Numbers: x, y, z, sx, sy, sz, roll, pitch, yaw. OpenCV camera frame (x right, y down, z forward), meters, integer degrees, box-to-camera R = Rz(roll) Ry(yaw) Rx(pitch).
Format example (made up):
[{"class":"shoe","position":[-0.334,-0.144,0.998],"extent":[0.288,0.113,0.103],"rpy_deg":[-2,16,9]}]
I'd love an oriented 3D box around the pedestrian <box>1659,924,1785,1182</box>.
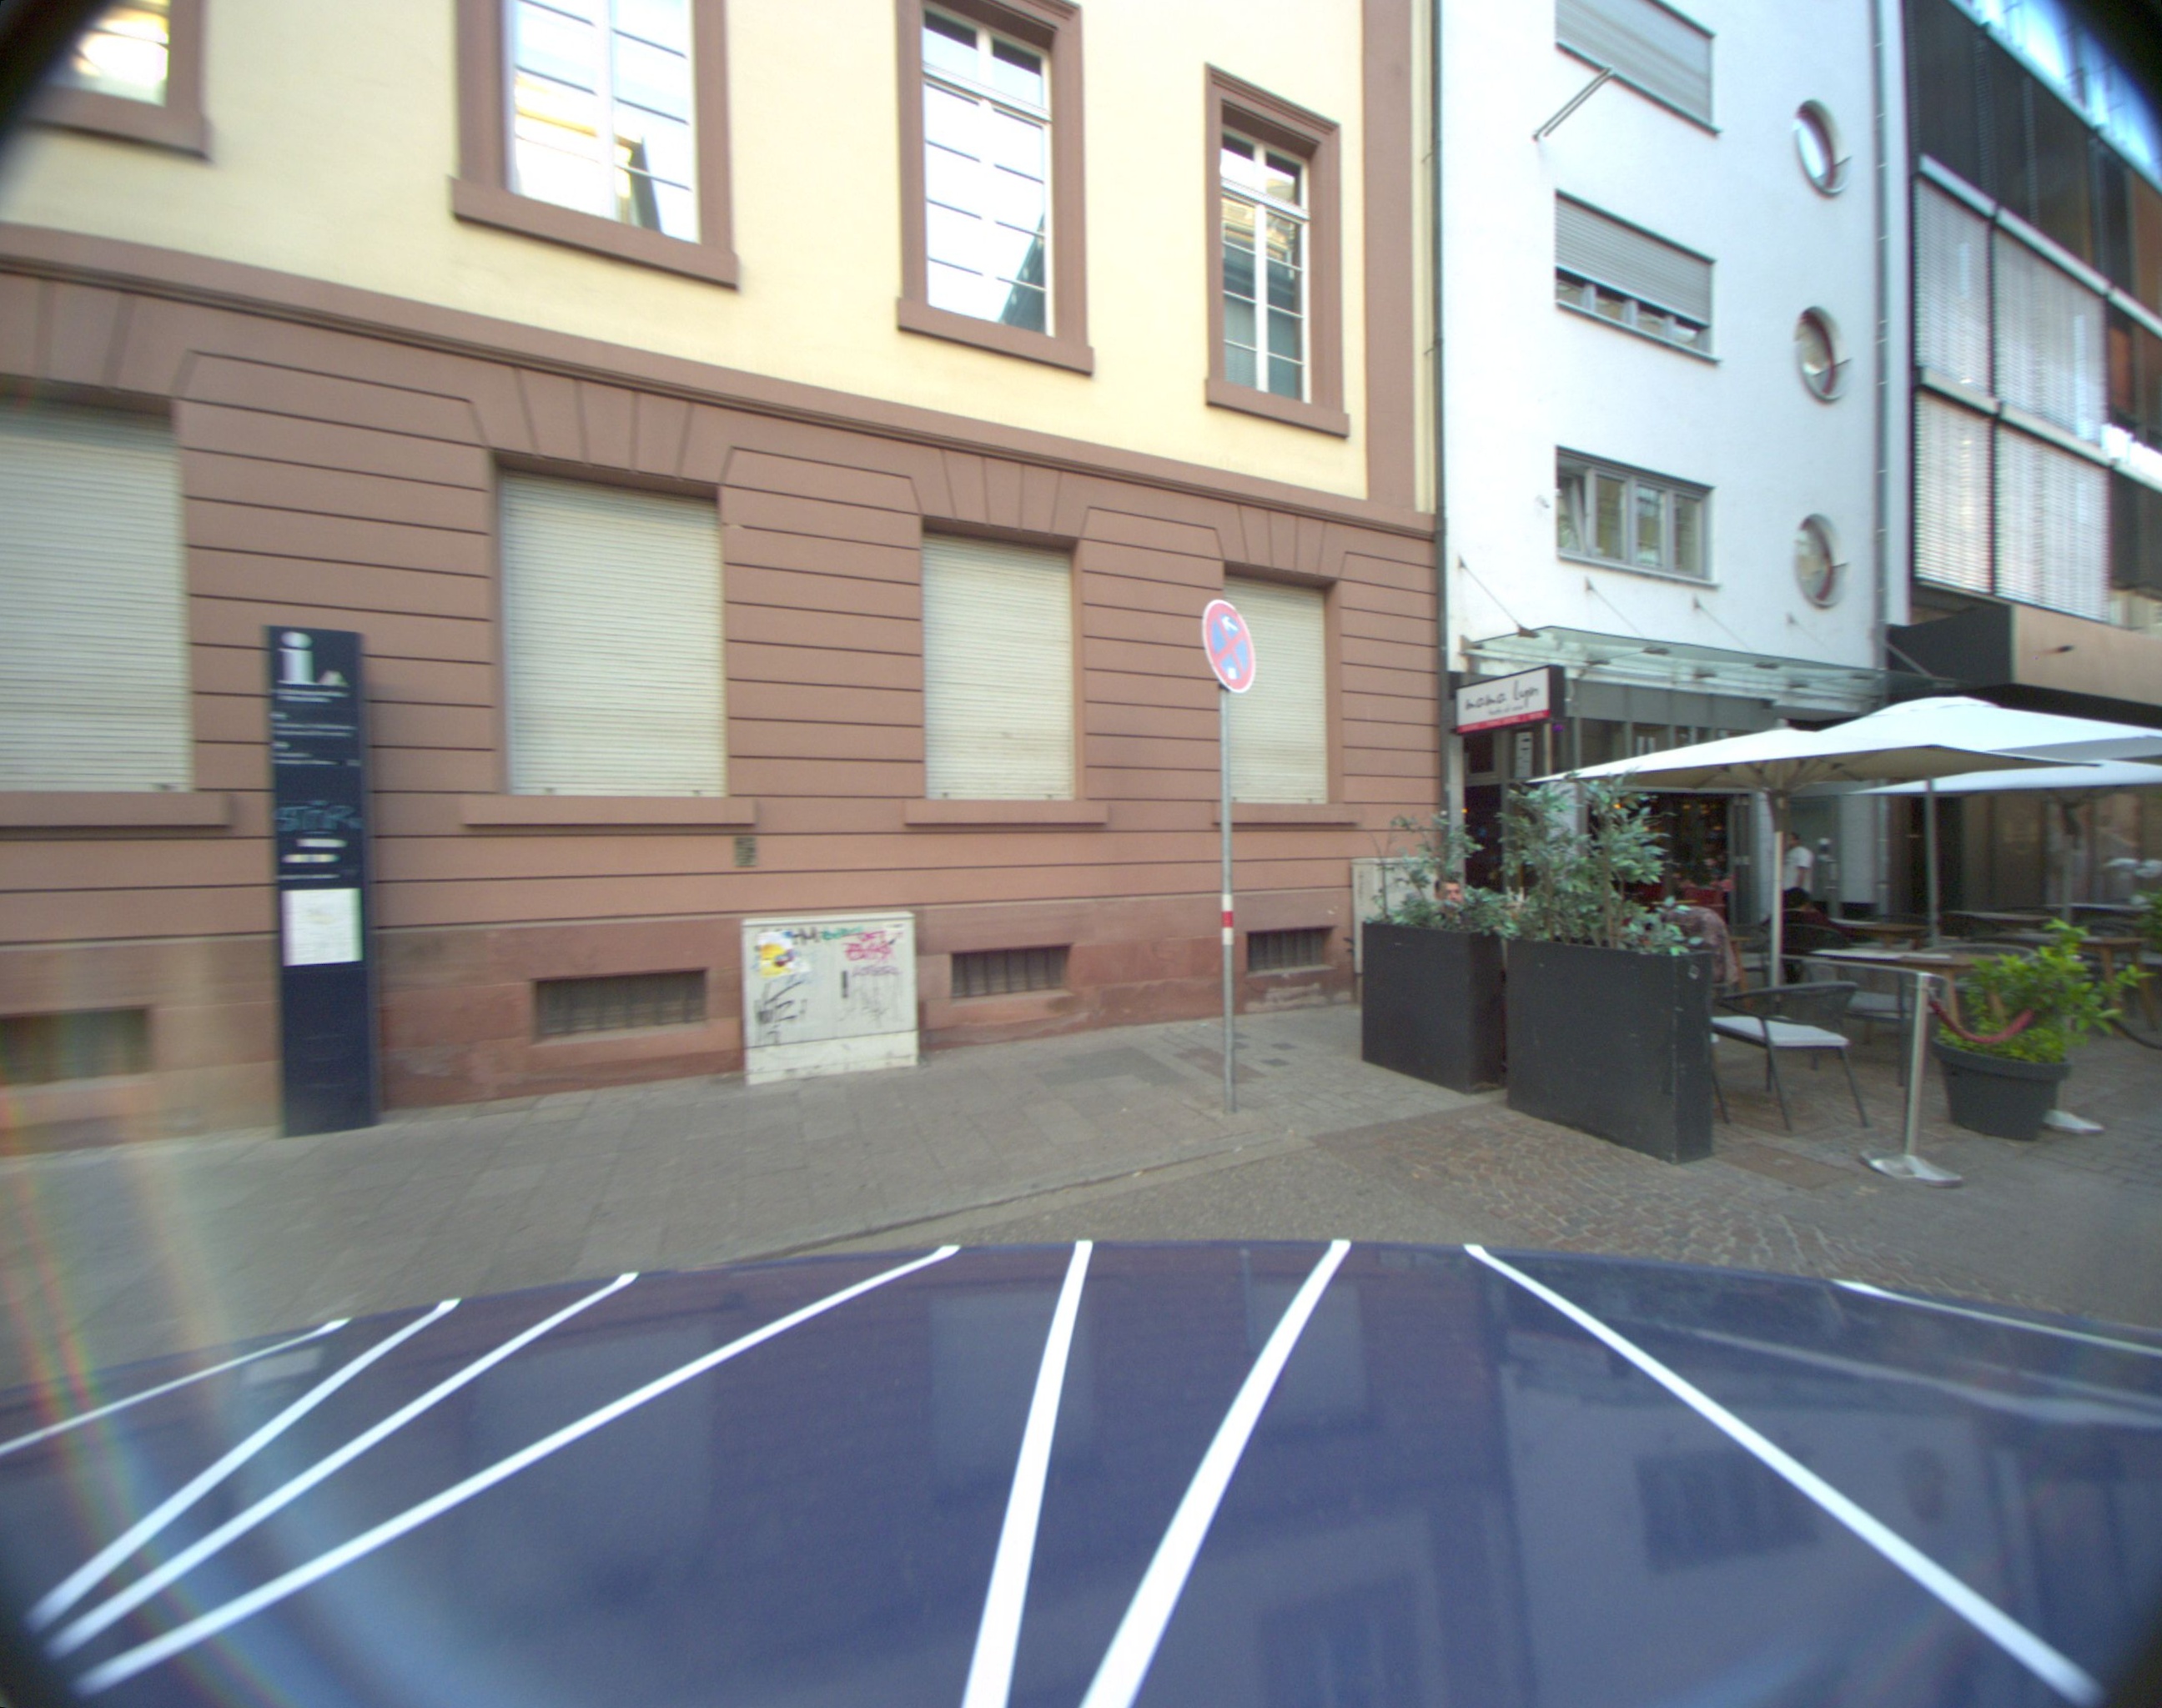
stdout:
[{"class":"pedestrian","position":[3.349,0.996,3.974],"extent":[0.384,1.206,0.399],"rpy_deg":[-1,1,-32]}]

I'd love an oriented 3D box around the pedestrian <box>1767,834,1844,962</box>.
[{"class":"pedestrian","position":[10.380,0.610,10.893],"extent":[0.603,1.762,0.639],"rpy_deg":[-1,1,-27]}]

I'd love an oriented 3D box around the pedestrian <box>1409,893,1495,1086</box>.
[{"class":"pedestrian","position":[2.685,0.945,5.500],"extent":[0.496,1.298,0.362],"rpy_deg":[-1,1,-36]}]

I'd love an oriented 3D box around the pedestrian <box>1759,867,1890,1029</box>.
[{"class":"pedestrian","position":[7.011,0.846,7.176],"extent":[0.869,1.412,0.575],"rpy_deg":[-1,1,-21]}]
